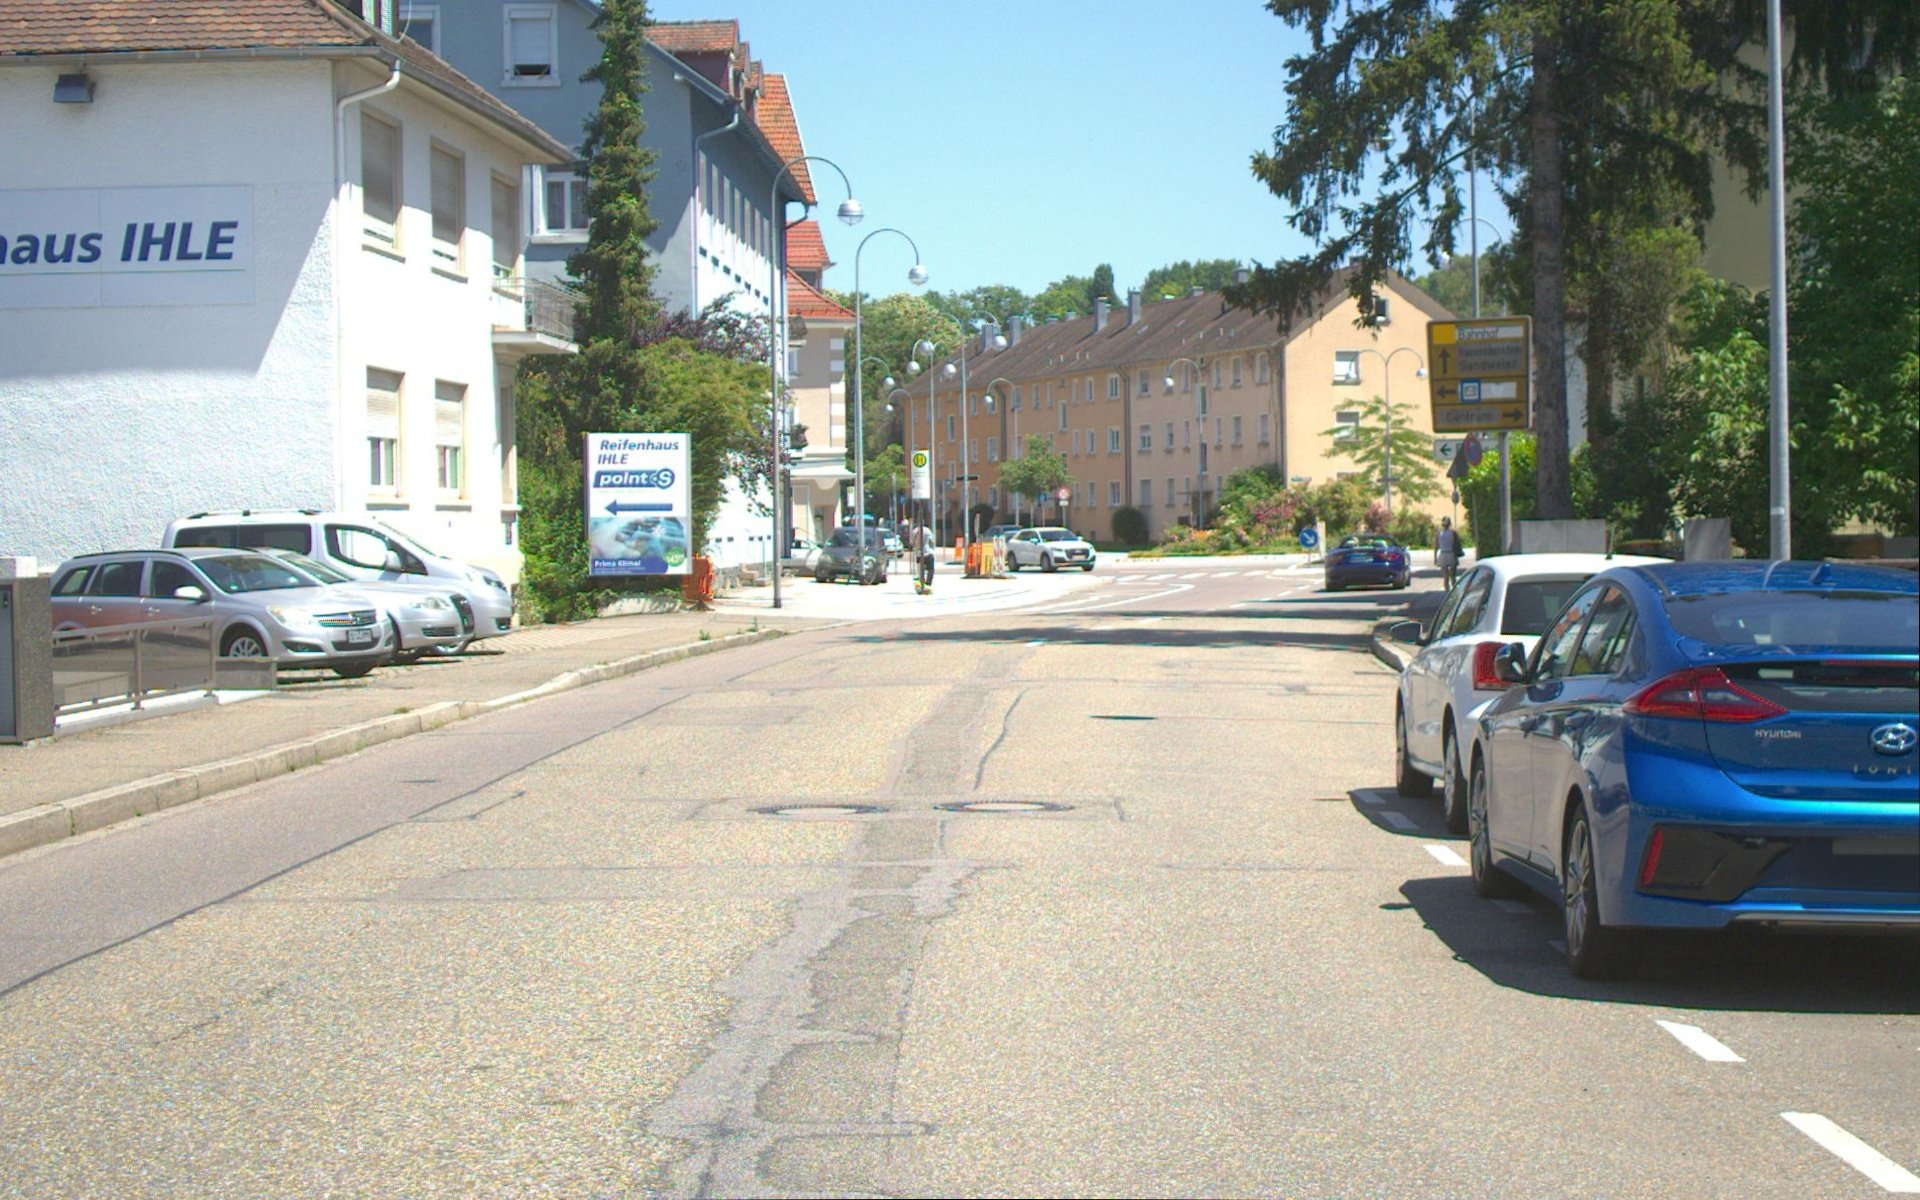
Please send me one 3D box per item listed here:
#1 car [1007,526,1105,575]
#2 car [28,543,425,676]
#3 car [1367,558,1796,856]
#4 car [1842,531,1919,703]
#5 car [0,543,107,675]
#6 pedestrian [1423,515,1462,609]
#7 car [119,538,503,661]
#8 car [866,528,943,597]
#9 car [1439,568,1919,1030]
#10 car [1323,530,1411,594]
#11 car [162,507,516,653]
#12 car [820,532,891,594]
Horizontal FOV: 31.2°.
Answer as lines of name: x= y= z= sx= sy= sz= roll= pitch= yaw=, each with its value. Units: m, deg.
car: x=3.324 y=-1.728 z=119.592 sx=1.595 sy=1.601 sz=3.410 roll=1 pitch=1 yaw=-37
car: x=-7.946 y=0.064 z=37.148 sx=4.137 sy=1.339 sz=1.907 roll=1 pitch=1 yaw=35
car: x=3.361 y=0.513 z=19.293 sx=1.725 sy=1.414 sz=4.014 roll=2 pitch=1 yaw=1
car: x=10.732 y=0.171 z=33.120 sx=3.987 sy=1.605 sz=1.833 roll=1 pitch=1 yaw=1
car: x=-11.237 y=0.061 z=36.821 sx=4.137 sy=1.339 sz=1.830 roll=1 pitch=1 yaw=35
pedestrian: x=9.165 y=-0.715 z=65.273 sx=0.689 sy=1.764 sz=0.691 roll=1 pitch=-1 yaw=8
car: x=-7.527 y=-0.020 z=40.132 sx=4.128 sy=1.389 sz=1.829 roll=0 pitch=1 yaw=1
car: x=-1.349 y=-0.941 z=85.118 sx=1.757 sy=1.650 sz=4.000 roll=0 pitch=1 yaw=1
car: x=2.978 y=0.625 z=13.039 sx=1.778 sy=1.401 sz=4.286 roll=2 pitch=1 yaw=1
car: x=9.894 y=-0.931 z=83.348 sx=1.795 sy=1.505 sz=3.998 roll=1 pitch=1 yaw=11
car: x=-7.670 y=-0.262 z=42.734 sx=4.128 sy=1.768 sz=1.829 roll=0 pitch=1 yaw=-2
car: x=-2.808 y=-1.016 z=93.151 sx=1.757 sy=1.650 sz=4.000 roll=0 pitch=1 yaw=1
